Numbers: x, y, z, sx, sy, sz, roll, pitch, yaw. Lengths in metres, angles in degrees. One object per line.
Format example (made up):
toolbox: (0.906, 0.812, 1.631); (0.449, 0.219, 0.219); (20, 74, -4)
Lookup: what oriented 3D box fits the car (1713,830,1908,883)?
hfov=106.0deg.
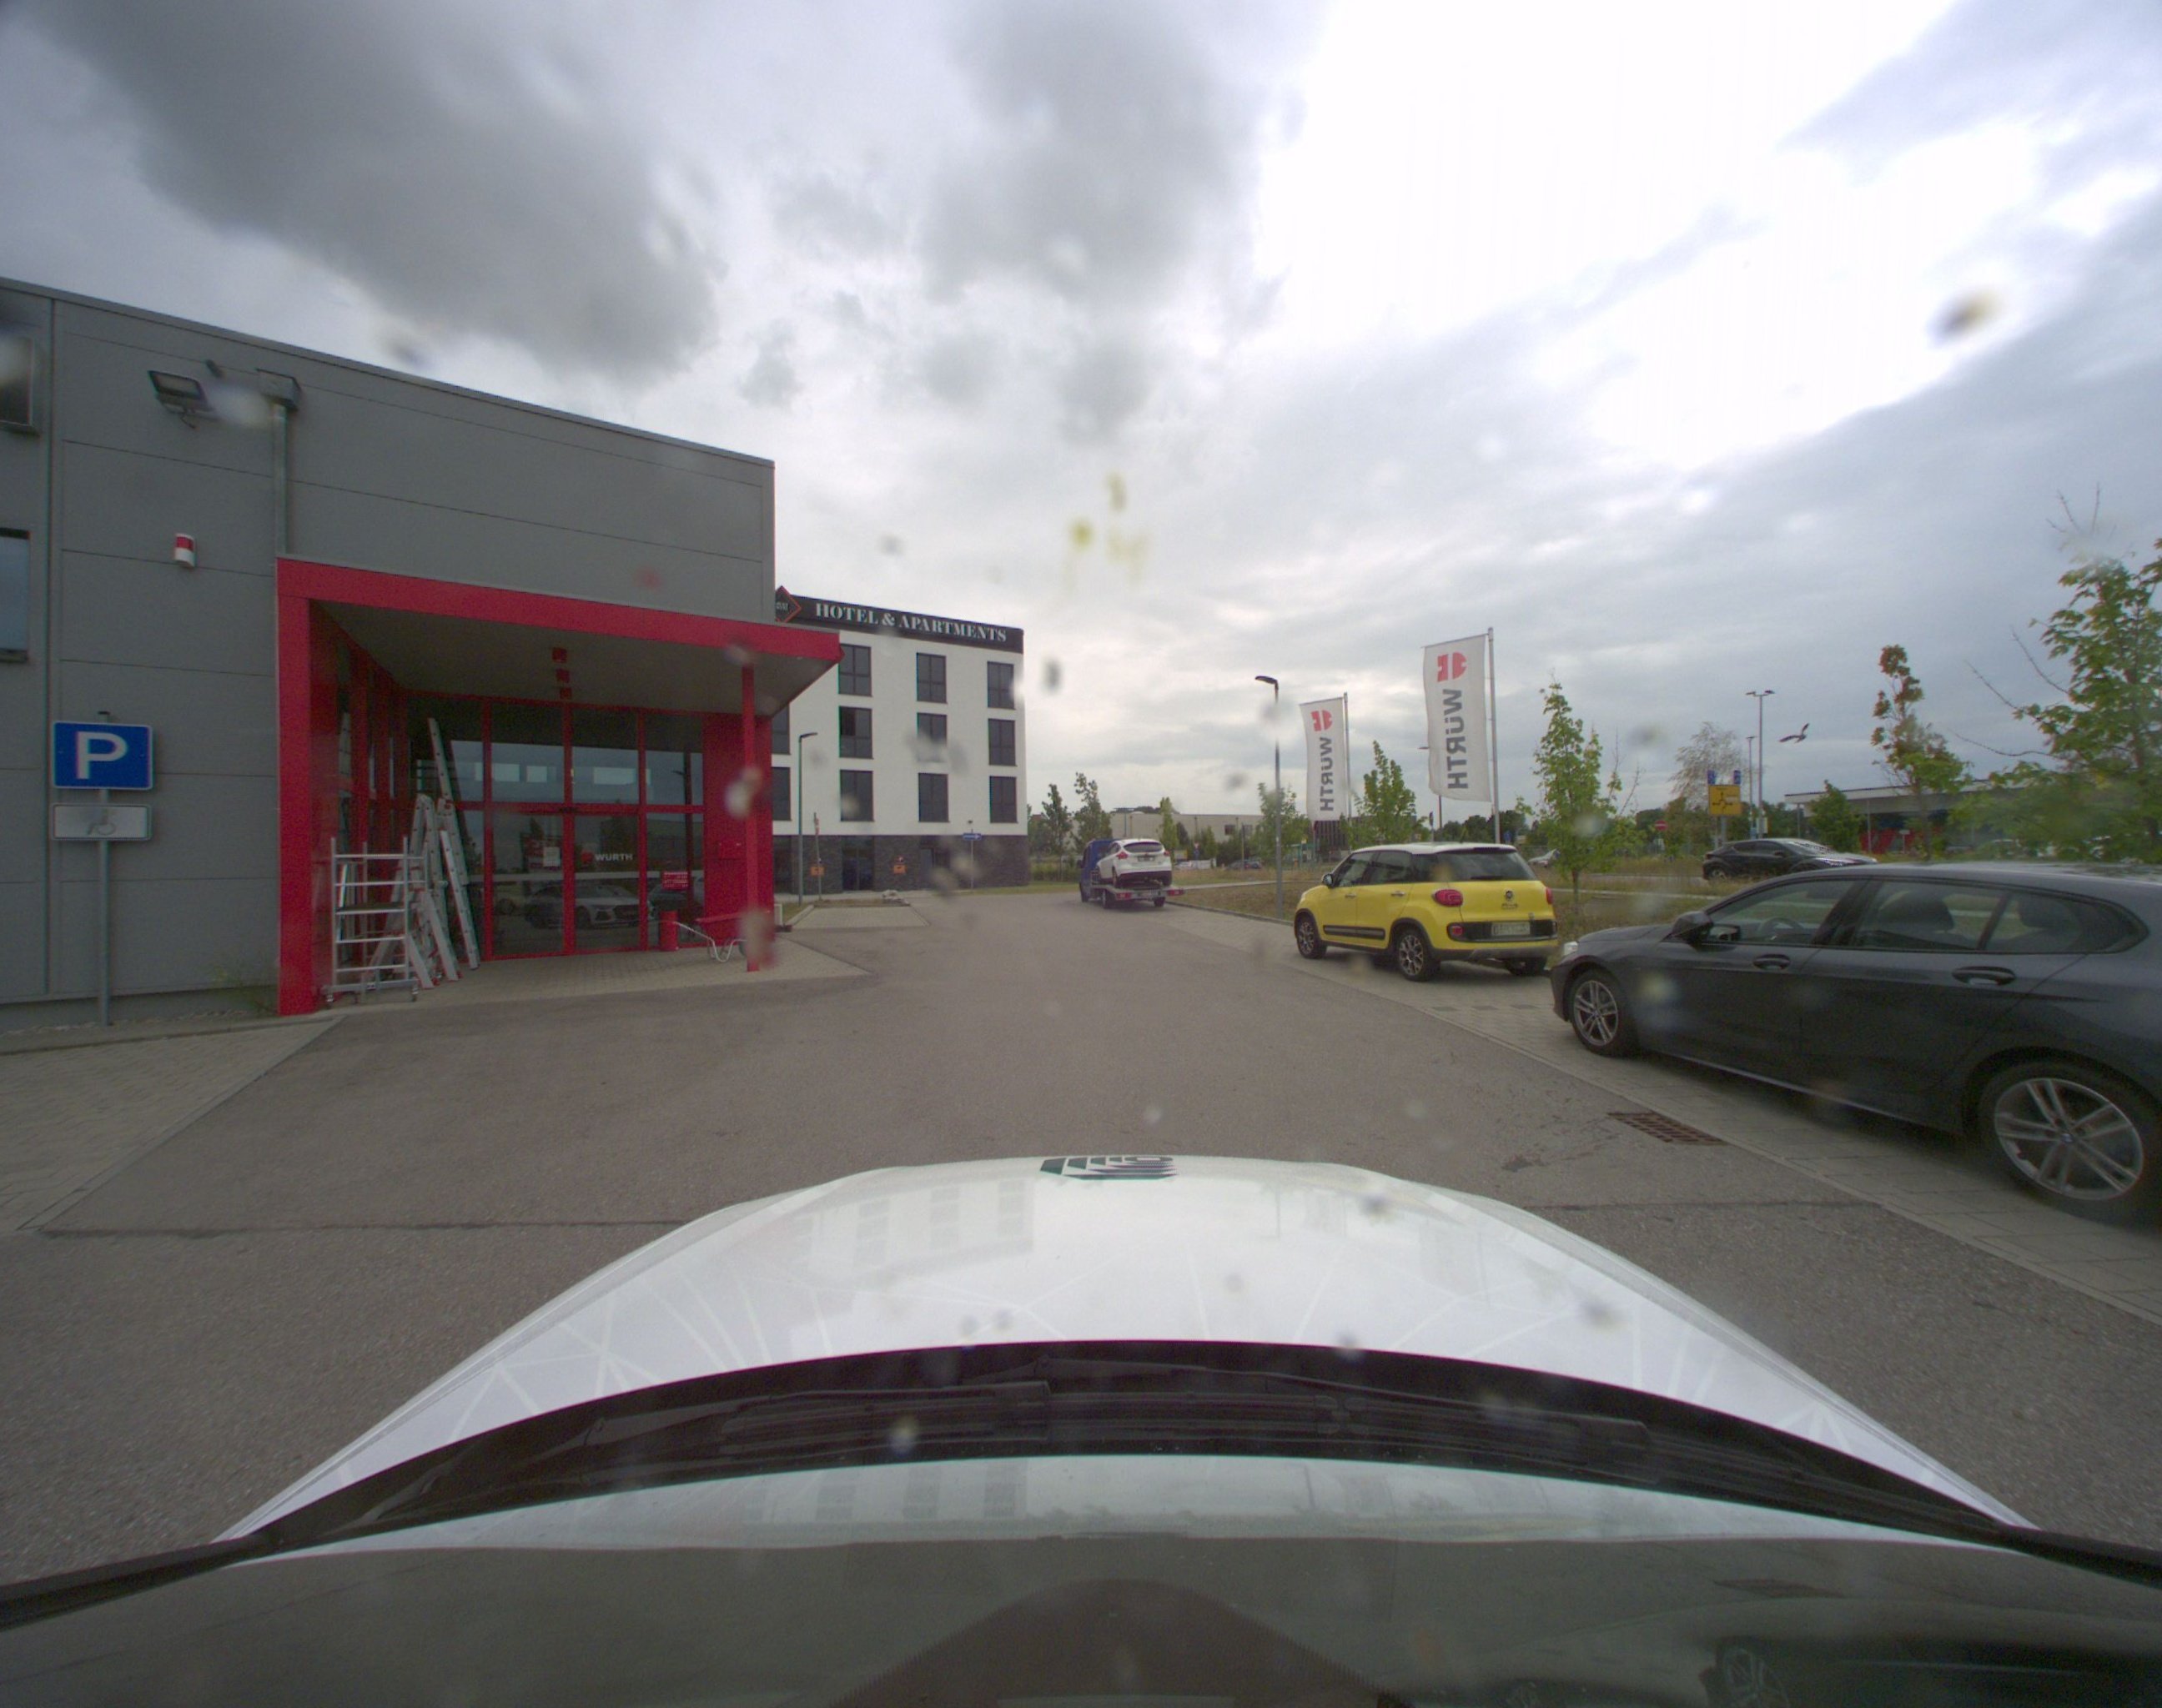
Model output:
car: (20.620, 0.075, 23.268); (1.753, 1.354, 3.990); (-1, 0, -7)

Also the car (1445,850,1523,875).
car: (22.897, 0.465, 46.423); (1.719, 1.324, 3.976); (-1, 0, -17)

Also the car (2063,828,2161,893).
car: (25.354, 0.121, 18.058); (1.795, 1.450, 4.234); (-1, -1, -10)

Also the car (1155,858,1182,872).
car: (9.084, 1.164, 84.894); (1.568, 1.420, 3.472); (-1, 0, -18)

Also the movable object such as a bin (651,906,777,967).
movable object such as a bin: (-5.332, 1.168, 11.849); (1.590, 0.716, 0.796); (-1, 0, -31)

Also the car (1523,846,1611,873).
car: (28.174, 0.315, 47.243); (4.310, 1.466, 1.790); (-1, -1, -12)

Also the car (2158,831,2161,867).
car: (45.851, -0.213, 32.446); (4.139, 1.451, 1.987); (0, -1, -12)

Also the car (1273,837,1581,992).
car: (4.385, 0.675, 11.160); (1.748, 1.683, 4.281); (0, -1, -12)

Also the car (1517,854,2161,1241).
car: (4.702, 0.722, 4.786); (1.744, 1.416, 4.299); (0, 0, -4)

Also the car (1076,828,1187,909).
car: (1.449, 0.484, 27.589); (2.193, 2.323, 7.834); (-1, -1, -8)

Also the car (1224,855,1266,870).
car: (13.968, 0.711, 69.428); (1.720, 1.224, 3.974); (-1, 0, -19)
